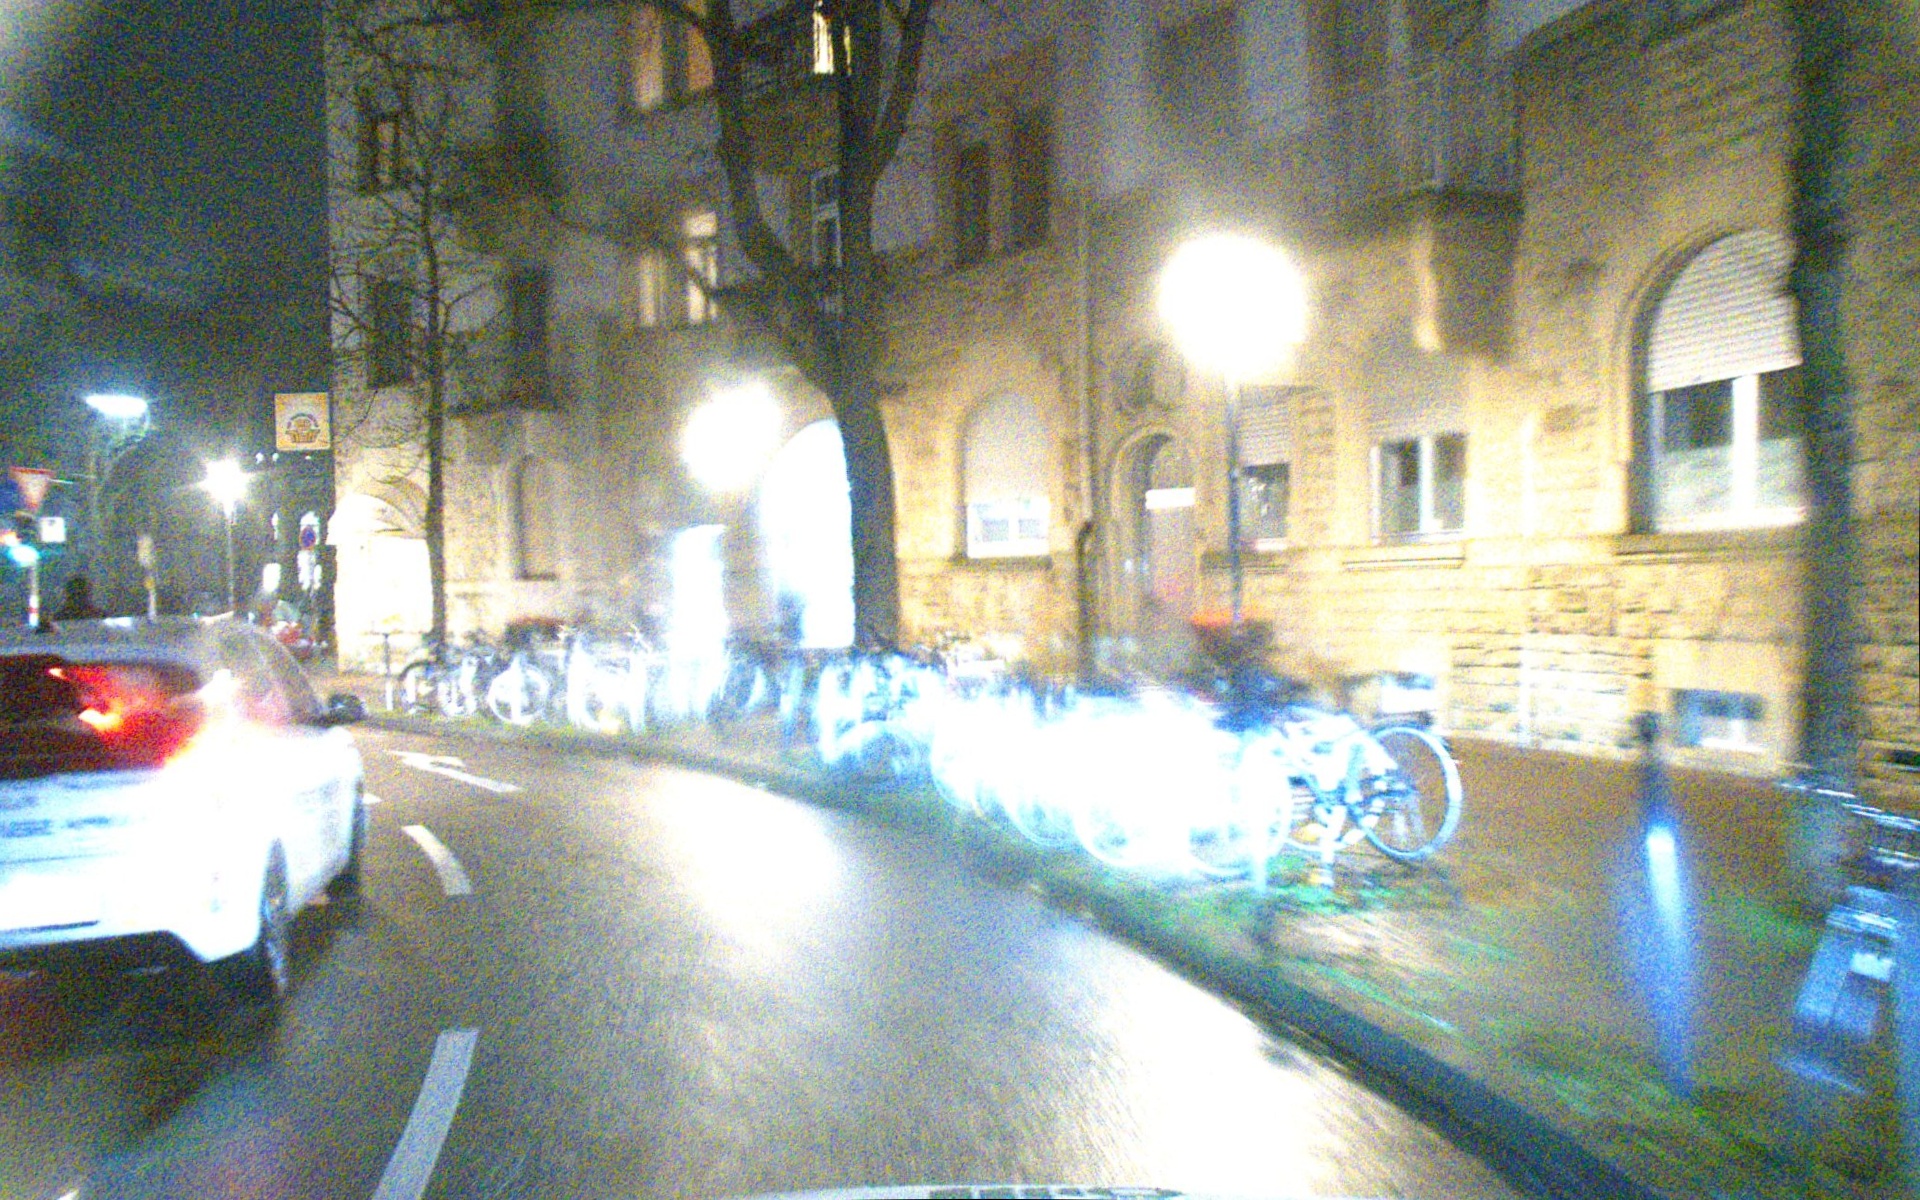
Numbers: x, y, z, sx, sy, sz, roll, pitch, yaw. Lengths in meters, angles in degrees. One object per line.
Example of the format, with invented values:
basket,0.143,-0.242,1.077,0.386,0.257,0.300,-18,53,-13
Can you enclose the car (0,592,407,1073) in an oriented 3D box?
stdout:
car,-3.656,0.783,7.246,1.885,1.542,3.587,-2,1,-12

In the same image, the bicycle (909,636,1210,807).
bicycle,0.679,0.803,11.349,1.936,1.024,0.640,-2,0,-15

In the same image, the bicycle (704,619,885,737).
bicycle,-1.713,0.788,17.324,1.811,1.106,0.710,-2,1,-43

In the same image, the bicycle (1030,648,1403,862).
bicycle,1.409,0.820,9.161,1.894,1.004,0.727,-2,0,-15

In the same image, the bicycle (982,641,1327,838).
bicycle,1.166,0.808,9.983,1.936,1.024,0.685,-2,0,-15

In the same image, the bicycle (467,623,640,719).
bicycle,-4.891,0.837,19.978,1.960,1.024,0.632,-2,1,-44

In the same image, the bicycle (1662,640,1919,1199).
bicycle,2.679,0.715,3.859,1.838,1.238,0.727,-2,0,-15

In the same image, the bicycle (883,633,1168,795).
bicycle,0.472,0.798,11.964,1.936,1.024,0.640,-2,0,-15

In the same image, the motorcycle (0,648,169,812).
motorcycle,-7.343,1.029,13.800,0.785,1.234,2.216,0,-1,-41

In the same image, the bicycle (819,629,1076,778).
bicycle,-0.102,0.806,13.243,1.936,1.052,0.640,-2,0,-15

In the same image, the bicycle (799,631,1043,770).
bicycle,-0.334,0.822,13.905,1.936,1.024,0.640,-2,0,-15

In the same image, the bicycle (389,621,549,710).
bicycle,-6.526,0.850,22.048,1.960,1.053,0.632,-2,1,-44

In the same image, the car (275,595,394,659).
car,-16.908,0.702,44.893,1.612,1.466,4.055,-5,1,-1

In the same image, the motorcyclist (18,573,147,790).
motorcyclist,-7.287,0.652,13.732,0.785,1.724,0.807,0,-1,-42

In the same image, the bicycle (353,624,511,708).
bicycle,-7.185,0.877,22.563,1.960,1.024,0.632,-2,1,-44

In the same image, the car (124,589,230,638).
car,-32.808,0.529,69.489,1.953,1.857,5.309,2,1,-1

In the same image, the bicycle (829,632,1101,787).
bicycle,0.034,0.803,12.509,1.936,1.024,0.640,-2,0,-15

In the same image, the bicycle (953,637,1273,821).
bicycle,0.983,0.802,10.672,1.936,1.024,0.640,-2,0,-15

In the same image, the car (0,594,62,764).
car,-11.518,0.845,18.404,1.741,1.770,3.737,0,-1,-44

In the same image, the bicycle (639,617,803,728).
bicycle,-2.565,0.760,17.988,0.628,1.072,1.970,-2,1,31

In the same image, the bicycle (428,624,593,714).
bicycle,-5.728,0.858,21.169,1.960,1.024,0.632,-2,1,-44

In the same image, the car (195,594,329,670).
car,-16.727,0.724,39.811,1.614,1.551,3.580,-5,1,-1

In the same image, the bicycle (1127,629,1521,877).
bicycle,1.914,0.764,8.747,1.894,1.134,0.727,-2,0,-15

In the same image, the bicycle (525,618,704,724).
bicycle,-3.950,0.787,19.019,1.960,1.083,0.632,-2,1,-44

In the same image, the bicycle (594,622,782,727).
bicycle,-2.961,0.796,17.981,1.936,1.024,0.640,-2,0,-15
